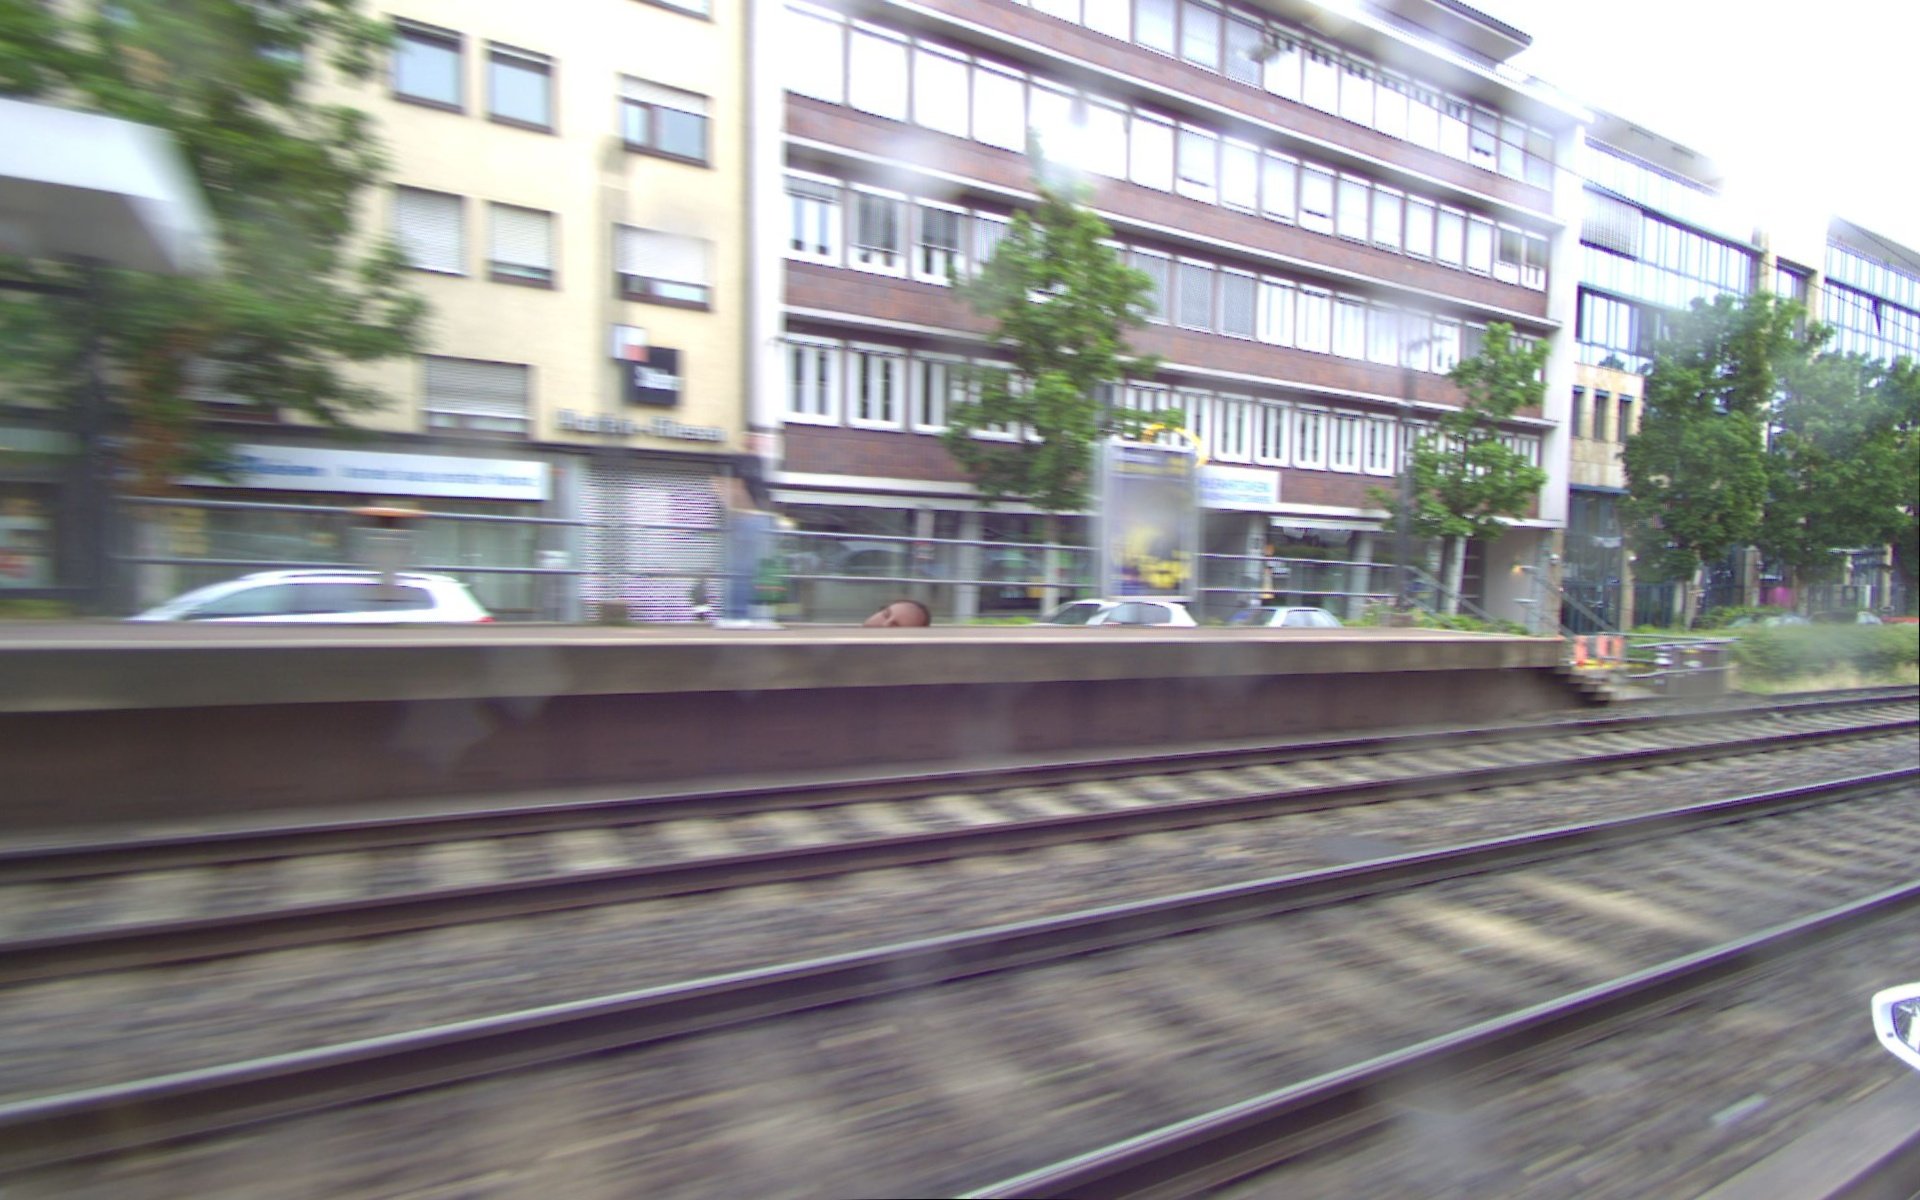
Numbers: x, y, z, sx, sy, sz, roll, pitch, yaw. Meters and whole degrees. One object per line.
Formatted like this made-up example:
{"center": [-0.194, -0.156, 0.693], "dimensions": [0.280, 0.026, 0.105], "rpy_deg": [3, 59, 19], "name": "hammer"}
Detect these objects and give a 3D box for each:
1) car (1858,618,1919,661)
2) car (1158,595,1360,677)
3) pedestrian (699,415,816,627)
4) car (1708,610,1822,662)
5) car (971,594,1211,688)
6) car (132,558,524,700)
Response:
{"center": [34.624, 1.417, 36.821], "dimensions": [4.133, 1.455, 1.558], "rpy_deg": [1, 0, -34], "name": "car"}
{"center": [6.016, 0.688, 20.033], "dimensions": [4.133, 1.455, 1.558], "rpy_deg": [1, 0, -34], "name": "car"}
{"center": [-1.857, -0.683, 9.190], "dimensions": [0.841, 1.826, 0.652], "rpy_deg": [1, 1, -32], "name": "pedestrian"}
{"center": [24.972, 1.094, 31.119], "dimensions": [4.133, 1.455, 1.558], "rpy_deg": [1, 0, -34], "name": "car"}
{"center": [2.362, 0.687, 17.669], "dimensions": [4.193, 1.455, 1.558], "rpy_deg": [1, 0, -34], "name": "car"}
{"center": [-7.303, 0.318, 11.910], "dimensions": [3.696, 1.455, 1.558], "rpy_deg": [1, 0, -34], "name": "car"}
